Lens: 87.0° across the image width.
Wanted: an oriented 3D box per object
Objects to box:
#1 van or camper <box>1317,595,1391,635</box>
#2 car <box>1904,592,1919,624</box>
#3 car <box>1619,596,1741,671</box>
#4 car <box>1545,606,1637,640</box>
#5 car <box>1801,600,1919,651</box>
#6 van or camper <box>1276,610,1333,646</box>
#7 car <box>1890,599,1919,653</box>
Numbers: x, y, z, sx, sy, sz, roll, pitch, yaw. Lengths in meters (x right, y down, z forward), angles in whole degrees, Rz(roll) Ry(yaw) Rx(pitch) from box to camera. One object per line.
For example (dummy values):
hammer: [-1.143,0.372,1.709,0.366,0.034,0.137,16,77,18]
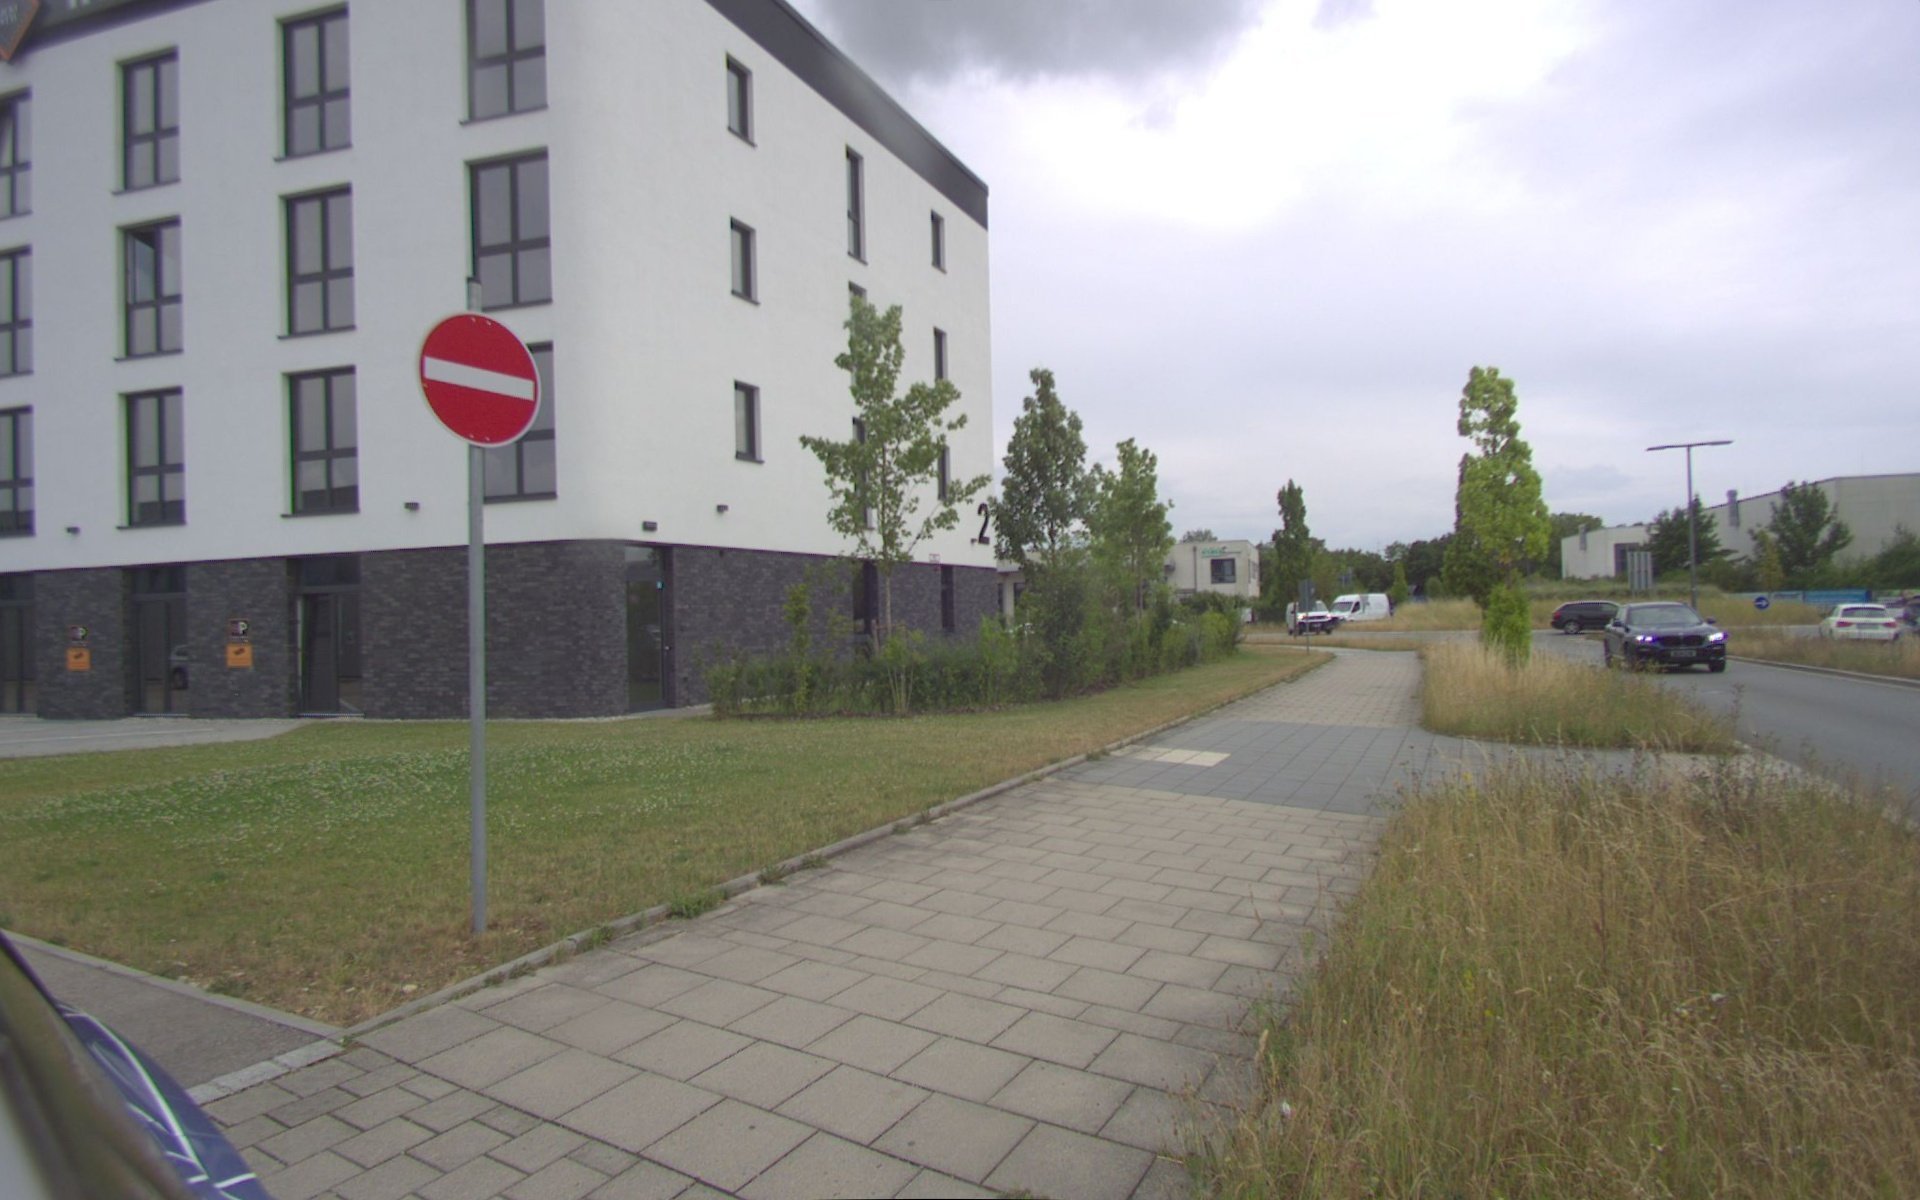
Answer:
van or camper: [27.865,1.029,71.497,5.374,2.601,2.006,-1,0,-33]
car: [42.044,0.285,42.757,3.994,1.353,1.724,-2,-1,-25]
car: [17.294,0.770,24.502,1.886,1.652,3.961,-2,-1,29]
car: [27.189,1.003,43.696,3.281,1.364,1.544,-2,-1,31]
car: [29.181,0.792,32.895,1.748,1.492,4.023,-2,0,24]
van or camper: [19.779,1.592,58.272,1.959,1.905,4.833,-2,-1,5]
car: [25.455,0.655,25.392,1.780,1.406,4.336,-1,-1,24]
